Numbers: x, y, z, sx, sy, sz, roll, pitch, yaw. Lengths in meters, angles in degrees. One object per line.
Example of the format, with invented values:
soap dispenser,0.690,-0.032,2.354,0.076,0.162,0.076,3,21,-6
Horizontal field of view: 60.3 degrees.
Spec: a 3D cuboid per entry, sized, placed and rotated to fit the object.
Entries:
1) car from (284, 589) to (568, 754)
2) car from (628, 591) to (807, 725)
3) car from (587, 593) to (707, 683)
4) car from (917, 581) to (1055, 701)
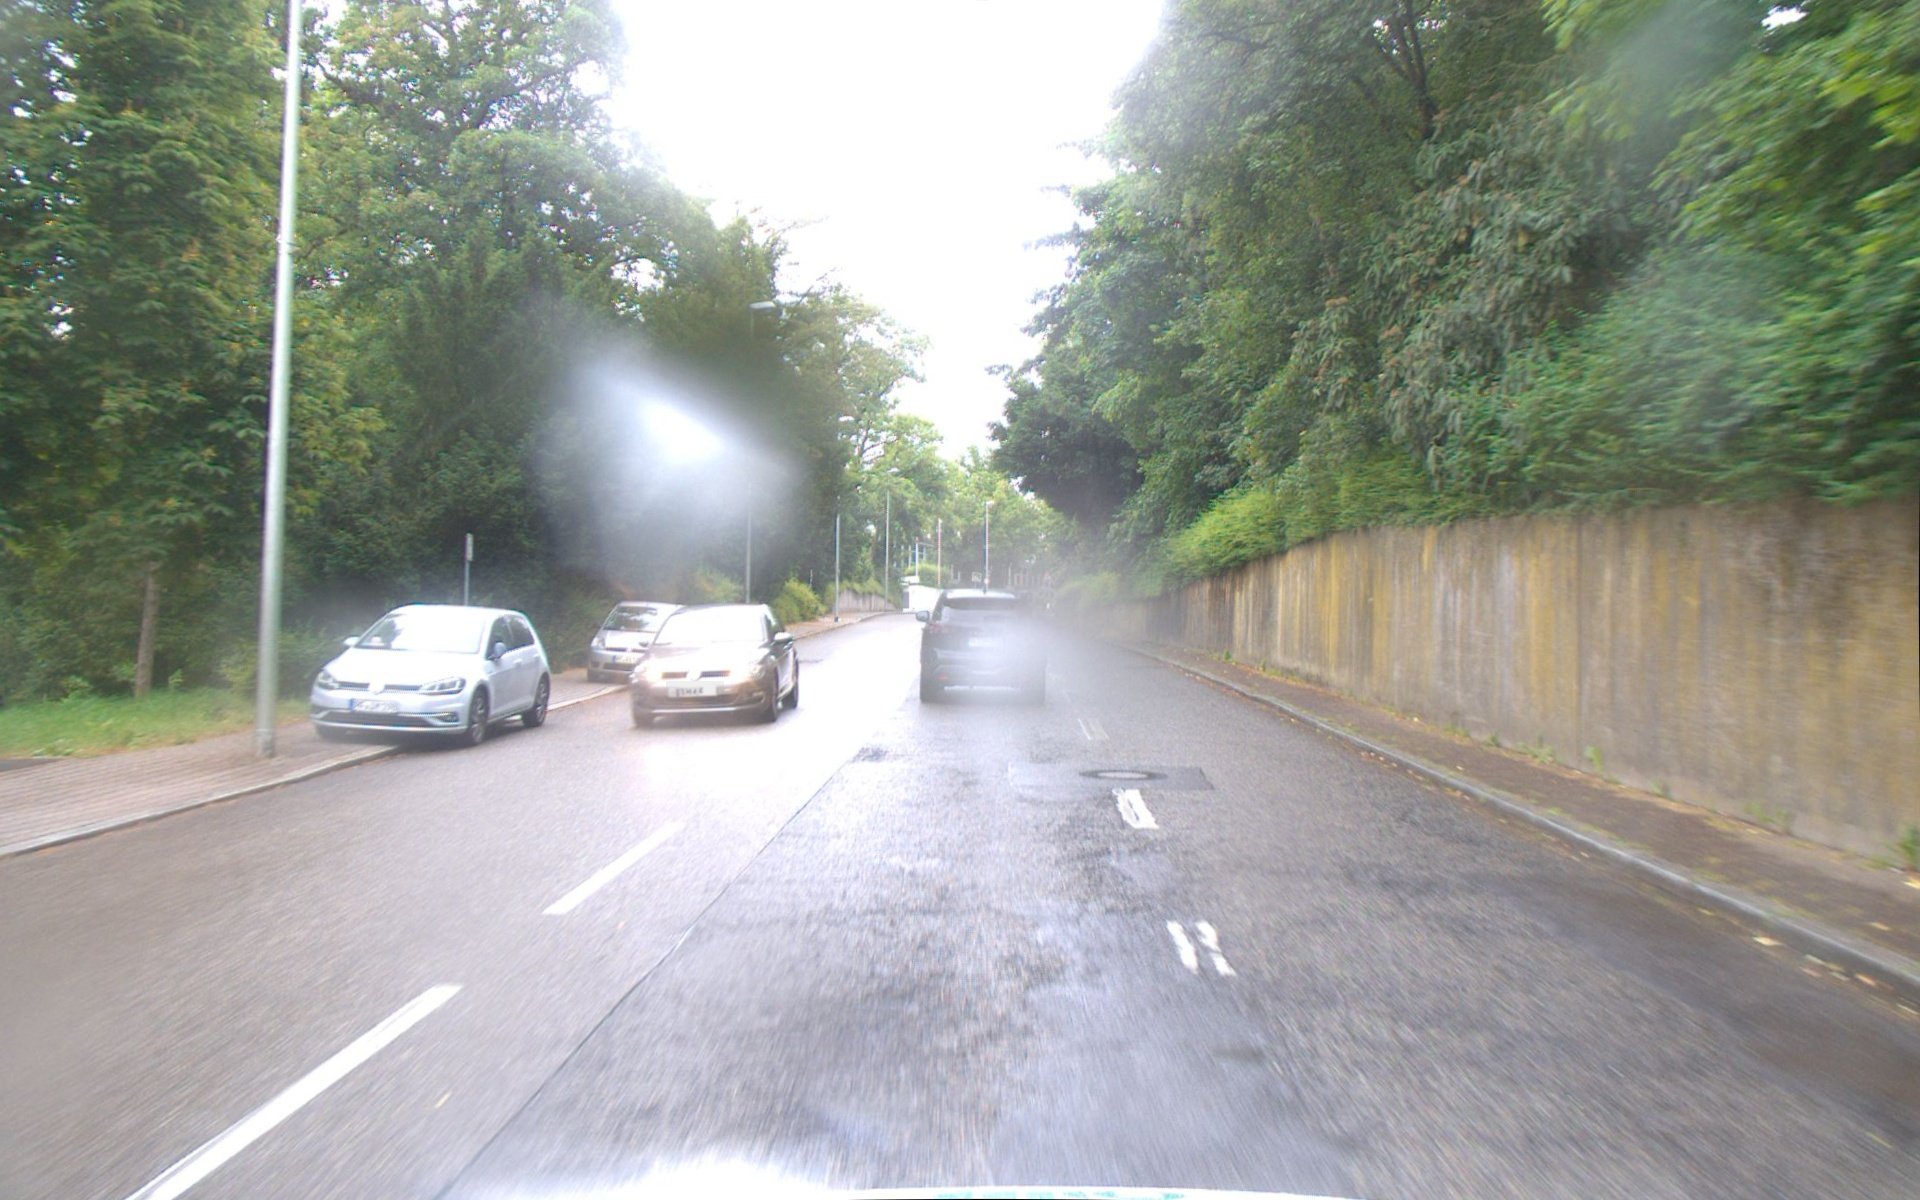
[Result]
car,-6.062,0.737,19.342,1.847,1.640,4.239,-2,0,1
car,-3.015,0.671,21.320,1.725,1.517,3.999,-2,0,-1
car,-5.801,0.660,31.002,1.593,1.525,3.926,2,0,-2
car,0.362,0.551,24.723,1.889,1.641,4.000,0,0,0
